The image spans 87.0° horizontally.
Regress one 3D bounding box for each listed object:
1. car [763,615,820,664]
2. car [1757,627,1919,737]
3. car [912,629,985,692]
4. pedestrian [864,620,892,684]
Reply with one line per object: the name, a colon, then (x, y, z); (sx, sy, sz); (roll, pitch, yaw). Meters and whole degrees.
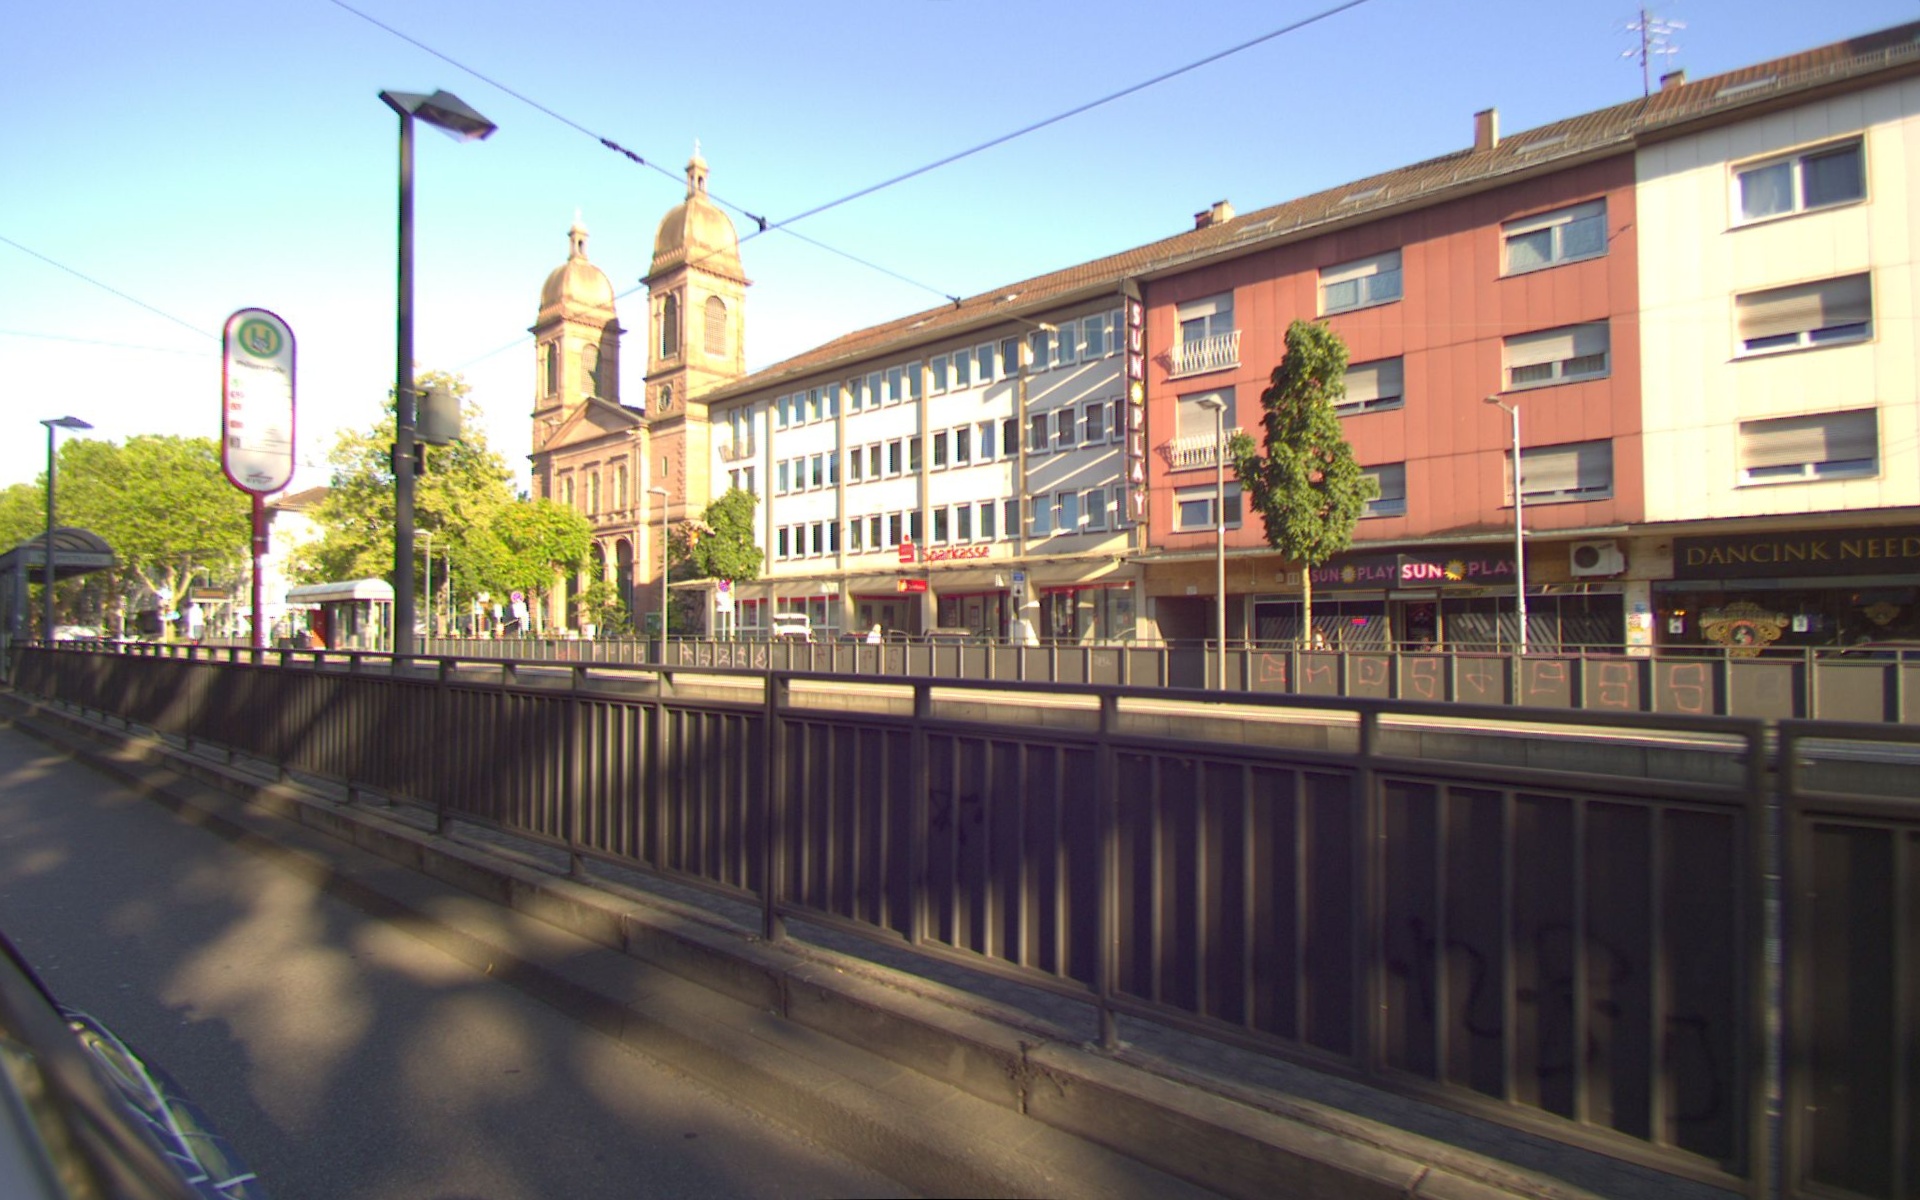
car: (-5.694, 1.303, 34.571); (1.716, 1.497, 4.006); (-1, 0, -7)
car: (15.184, 1.270, 15.973); (1.833, 1.502, 3.779); (-2, 1, -11)
car: (-0.406, 1.692, 29.449); (1.842, 1.541, 4.004); (-1, 0, -5)
pedestrian: (-2.380, 1.489, 29.322); (0.757, 1.801, 0.725); (-1, 0, -2)
